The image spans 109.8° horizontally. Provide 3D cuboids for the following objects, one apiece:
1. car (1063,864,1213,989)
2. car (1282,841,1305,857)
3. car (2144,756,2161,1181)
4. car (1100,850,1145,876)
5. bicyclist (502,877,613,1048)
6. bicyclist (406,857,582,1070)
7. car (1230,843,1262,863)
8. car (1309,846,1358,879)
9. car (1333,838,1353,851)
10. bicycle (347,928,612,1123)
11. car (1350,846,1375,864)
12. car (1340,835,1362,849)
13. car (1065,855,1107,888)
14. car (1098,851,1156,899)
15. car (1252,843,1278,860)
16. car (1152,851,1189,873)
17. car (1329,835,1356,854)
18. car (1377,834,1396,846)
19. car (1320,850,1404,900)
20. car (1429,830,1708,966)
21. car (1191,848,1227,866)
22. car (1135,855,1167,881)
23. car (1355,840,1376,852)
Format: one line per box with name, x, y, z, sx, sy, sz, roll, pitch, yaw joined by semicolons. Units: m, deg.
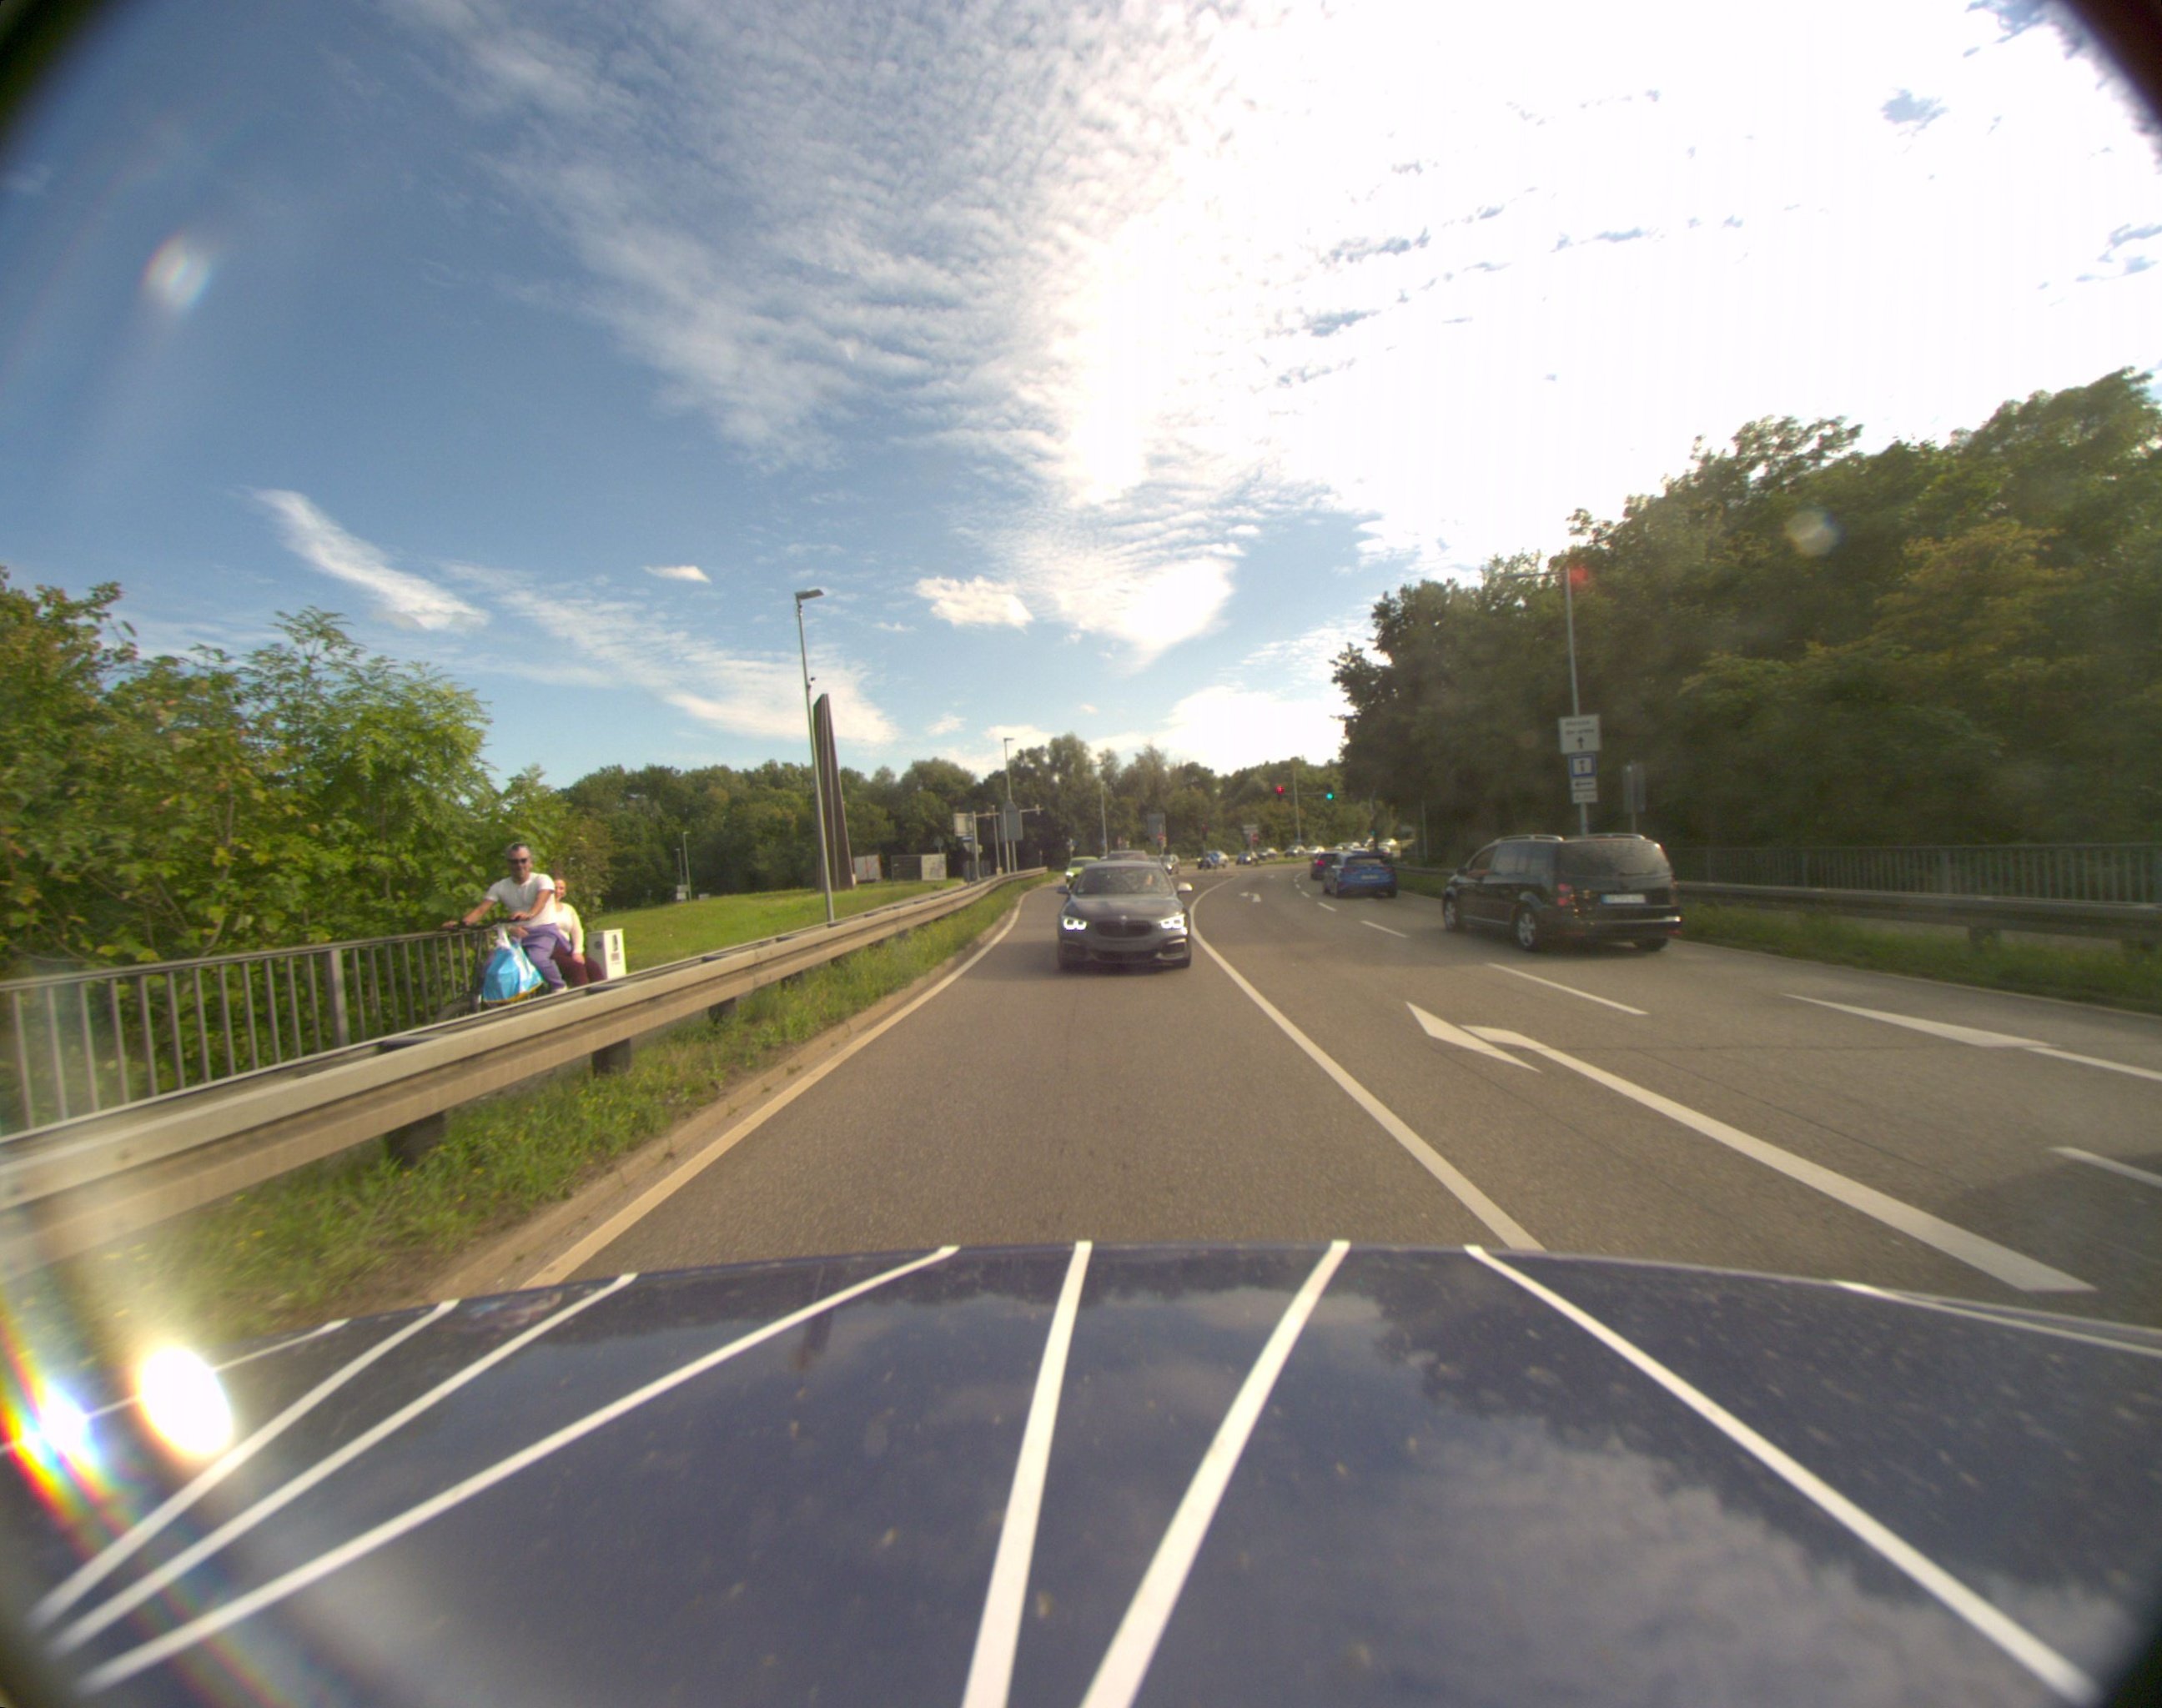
car;0.705;0.906;11.211;1.786;1.396;3.970;-2;0;0
car;29.541;-0.704;105.680;1.995;2.002;4.007;-2;1;32
car;5.795;0.504;0.950;1.990;1.953;5.049;-2;0;3
car;2.813;0.570;50.894;1.996;1.543;4.005;-2;1;19
bicyclist;-4.452;0.900;6.490;0.501;1.364;0.538;-2;1;3
bicyclist;-4.585;0.815;5.988;0.709;1.548;0.754;-2;1;3
car;18.208;-0.152;83.521;1.995;2.002;4.280;-2;1;33
car;12.704;0.369;38.517;1.817;1.511;4.768;-2;0;12
car;40.993;-1.473;118.850;1.995;2.002;4.007;-2;1;32
bicycle;-4.555;1.238;5.940;0.597;1.114;1.697;-2;1;3
car;25.674;0.057;69.219;1.816;1.511;4.834;-2;0;24
car;39.868;-1.818;112.188;1.995;2.002;4.007;-2;1;33
car;0.301;0.799;36.073;1.818;1.396;4.391;-2;0;2
car;1.690;0.667;26.638;1.818;1.498;4.393;-2;0;5
car;23.337;-0.372;96.455;1.995;2.002;4.007;-2;1;32
car;6.852;0.567;57.875;1.637;1.543;3.747;-2;0;27
car;20.052;-0.720;58.190;1.626;1.357;3.779;-2;0;24
car;53.809;-2.546;133.620;1.994;2.002;4.008;-1;1;38
car;9.008;0.615;24.703;1.896;1.439;4.364;-2;0;11
car;7.055;0.544;11.649;1.750;1.644;4.454;-2;0;6
car;12.413;0.245;73.435;1.995;1.591;4.288;-2;1;31
car;4.061;0.794;44.509;1.690;1.315;3.785;-2;1;4
car;47.170;-1.361;125.919;1.886;1.850;4.008;-1;1;40
